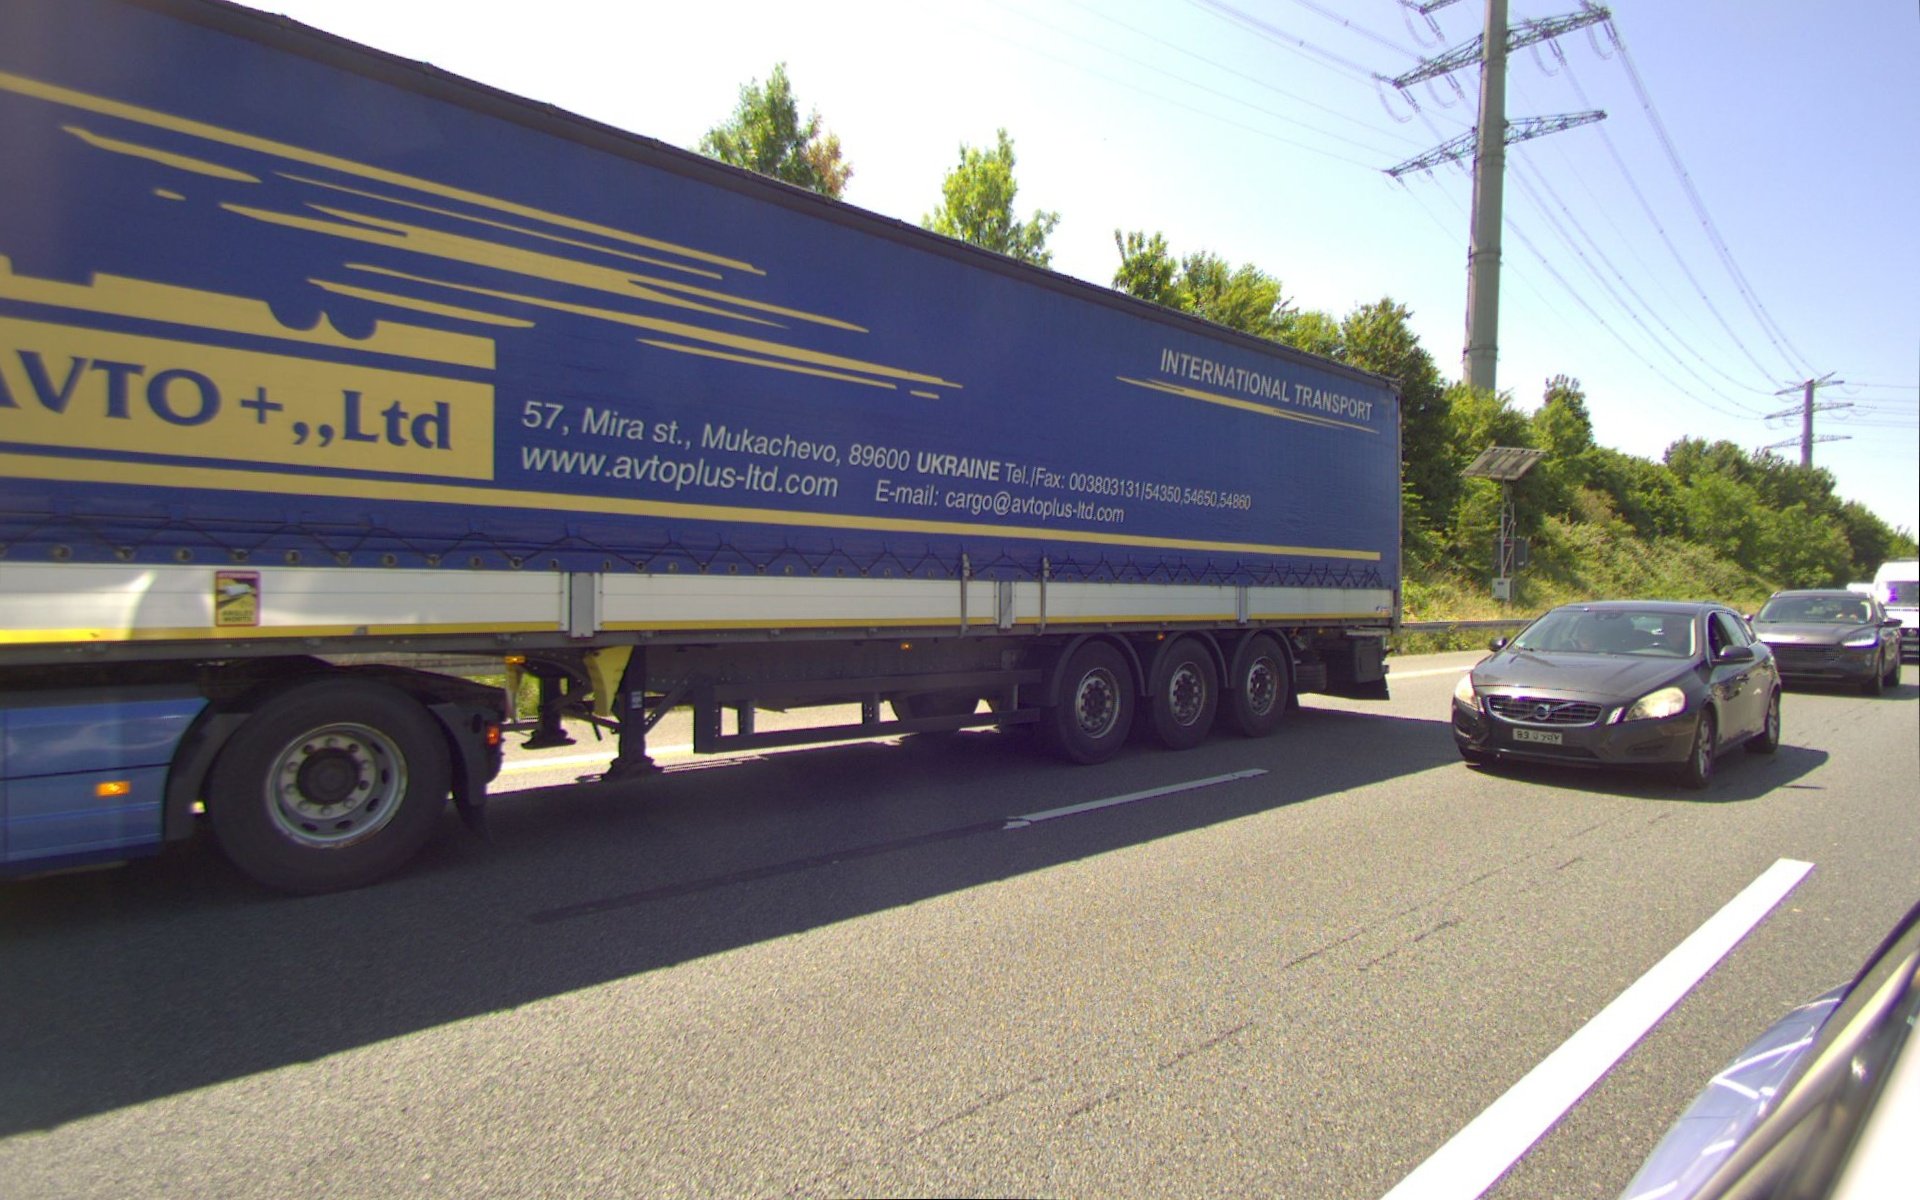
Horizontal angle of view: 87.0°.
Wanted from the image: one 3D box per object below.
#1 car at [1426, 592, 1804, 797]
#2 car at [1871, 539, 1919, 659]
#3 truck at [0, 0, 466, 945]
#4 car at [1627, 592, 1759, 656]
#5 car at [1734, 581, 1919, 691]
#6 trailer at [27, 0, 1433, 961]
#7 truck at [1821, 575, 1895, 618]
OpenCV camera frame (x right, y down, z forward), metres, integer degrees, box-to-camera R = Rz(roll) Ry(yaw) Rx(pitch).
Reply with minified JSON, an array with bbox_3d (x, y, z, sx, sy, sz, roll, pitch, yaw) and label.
[{"bbox_3d":[6.153,0.651,9.284,4.432,1.437,1.798,0,0,-41],"label":"car"},{"bbox_3d":[24.655,-0.039,25.327,6.590,2.753,2.040,0,0,-42],"label":"car"},{"bbox_3d":[-5.454,-0.755,4.294,5.539,4.197,2.790,0,0,-41],"label":"truck"},{"bbox_3d":[19.206,0.562,26.425,4.770,1.531,1.794,0,0,-41],"label":"car"},{"bbox_3d":[14.736,0.514,17.079,4.147,1.631,1.891,0,0,-41],"label":"car"},{"bbox_3d":[0.152,-0.782,9.248,12.655,4.317,2.771,0,0,-42],"label":"trailer"},{"bbox_3d":[48.364,-0.223,54.466,5.629,2.195,2.251,0,0,-41],"label":"truck"}]
